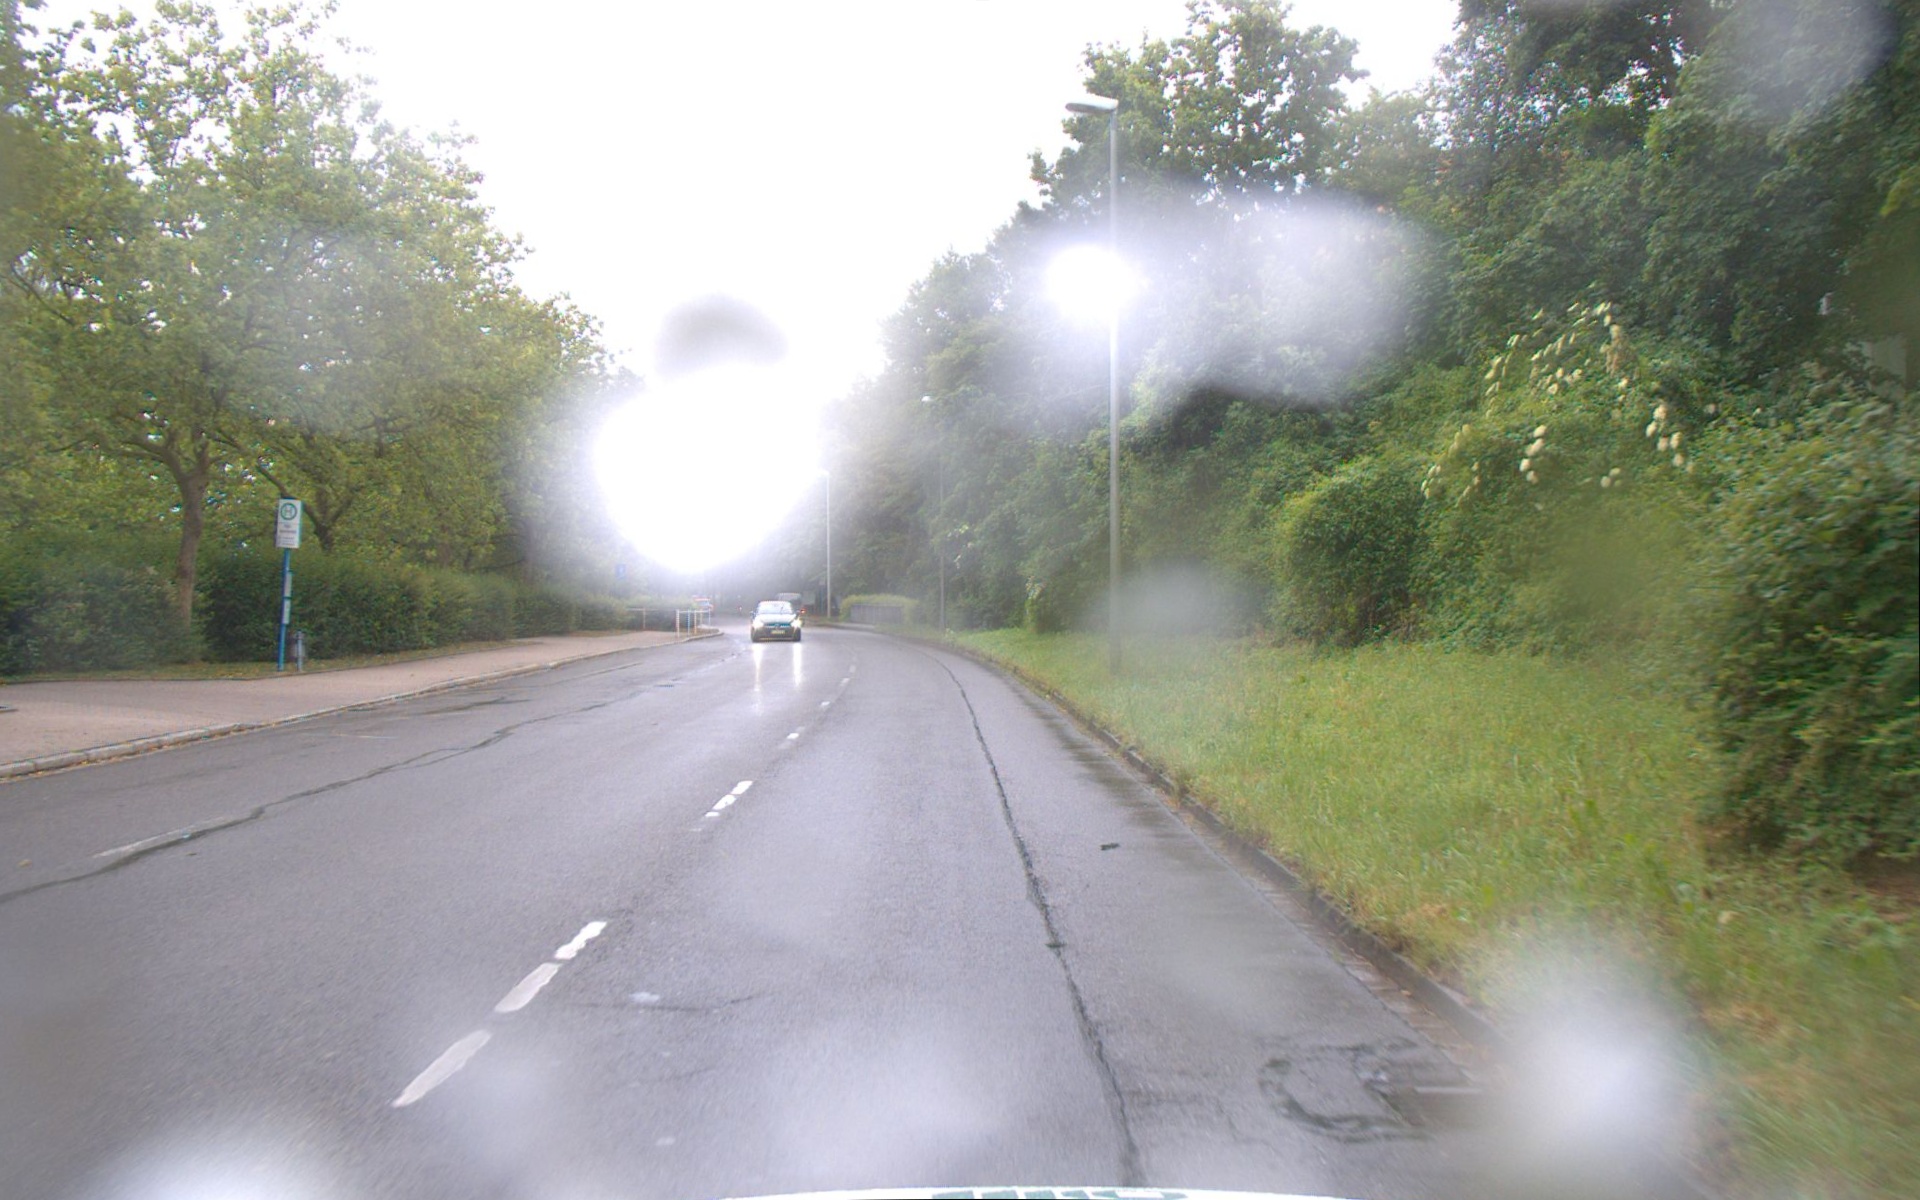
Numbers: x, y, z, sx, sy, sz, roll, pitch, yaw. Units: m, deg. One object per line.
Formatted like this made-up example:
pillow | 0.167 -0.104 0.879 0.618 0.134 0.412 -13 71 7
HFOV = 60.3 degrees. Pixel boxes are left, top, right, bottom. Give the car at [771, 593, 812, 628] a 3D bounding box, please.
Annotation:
car | -9.671 0.584 94.920 1.950 1.959 3.989 0 0 -11

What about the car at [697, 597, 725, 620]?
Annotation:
car | -20.554 0.717 136.315 1.959 1.847 3.987 1 -1 -13

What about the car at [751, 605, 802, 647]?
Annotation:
car | -6.781 0.950 61.569 1.791 1.490 3.995 -1 0 -6
